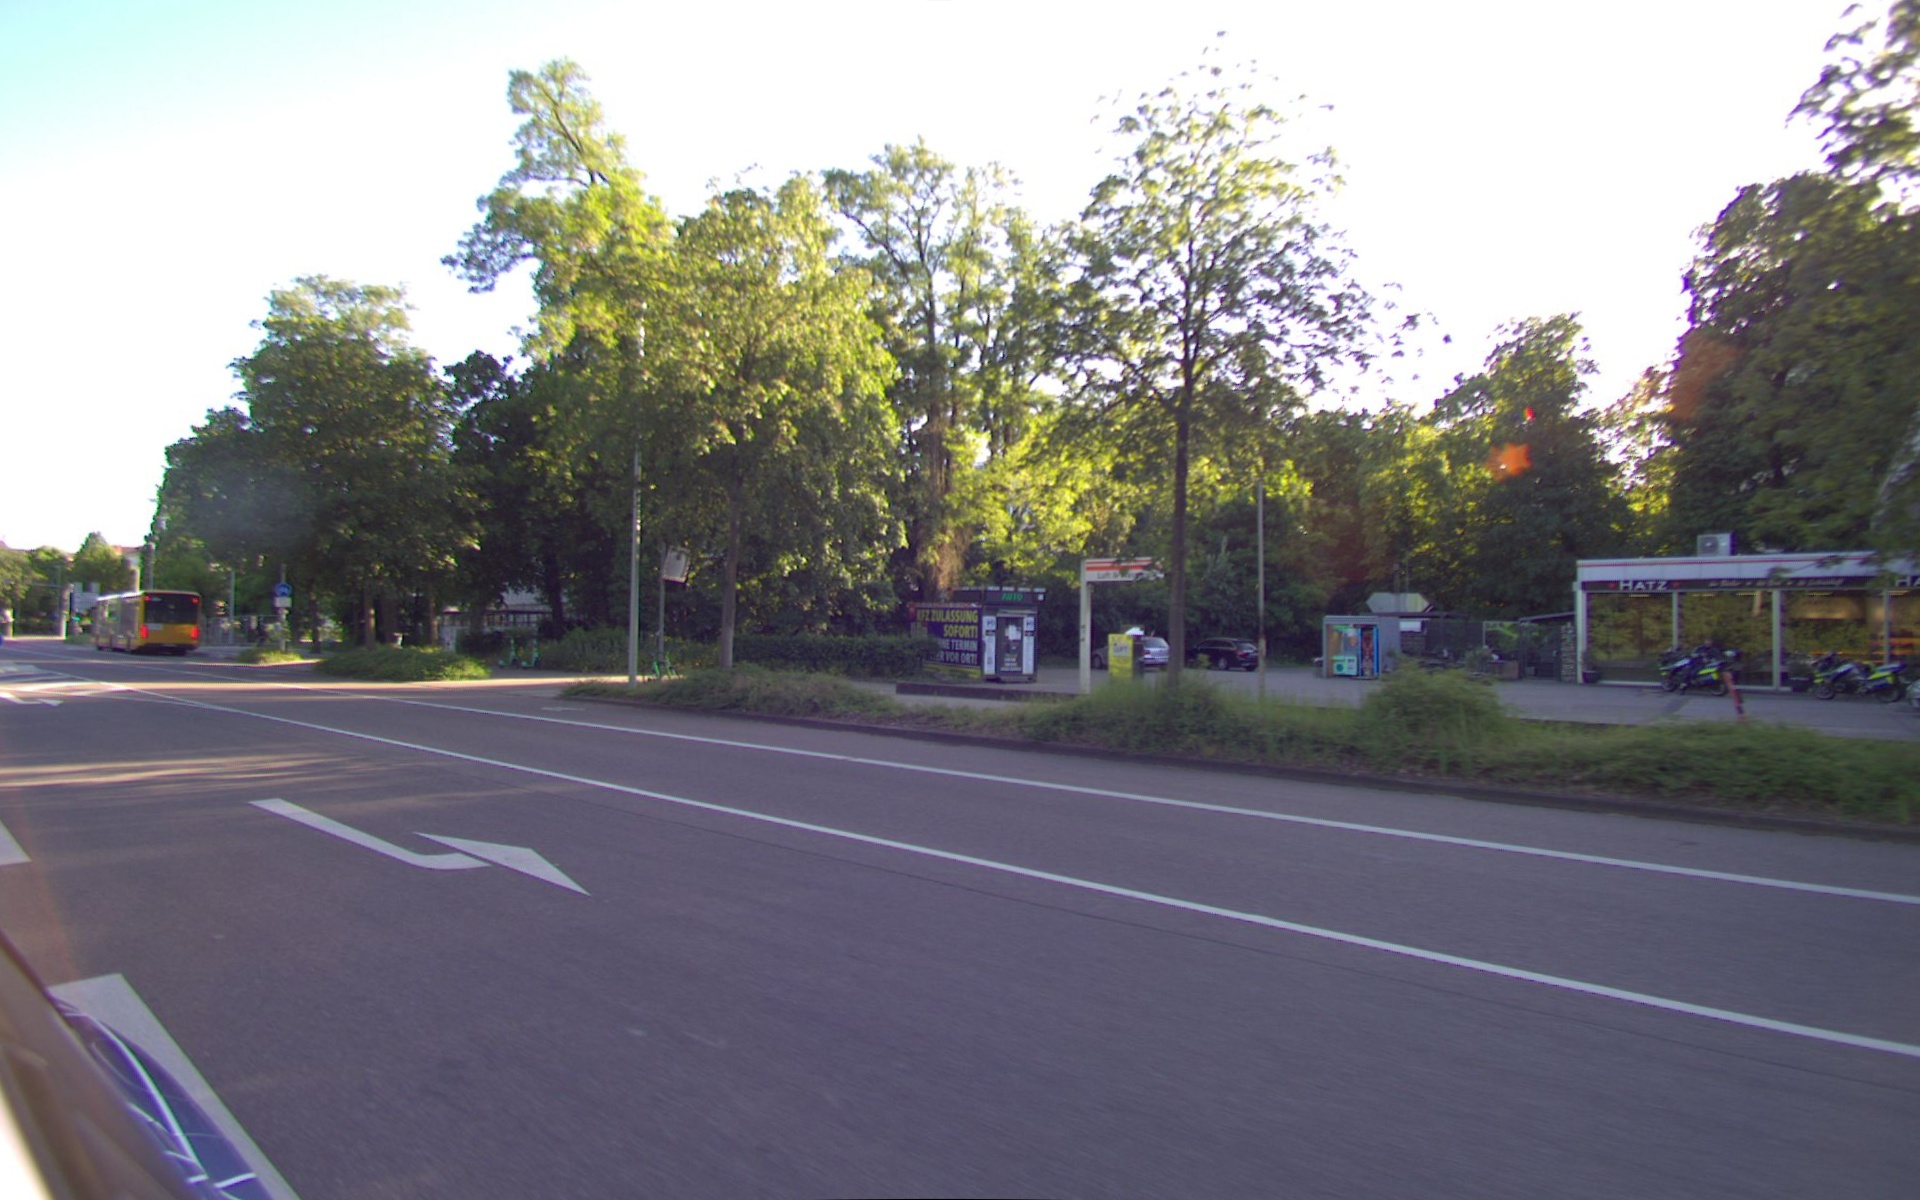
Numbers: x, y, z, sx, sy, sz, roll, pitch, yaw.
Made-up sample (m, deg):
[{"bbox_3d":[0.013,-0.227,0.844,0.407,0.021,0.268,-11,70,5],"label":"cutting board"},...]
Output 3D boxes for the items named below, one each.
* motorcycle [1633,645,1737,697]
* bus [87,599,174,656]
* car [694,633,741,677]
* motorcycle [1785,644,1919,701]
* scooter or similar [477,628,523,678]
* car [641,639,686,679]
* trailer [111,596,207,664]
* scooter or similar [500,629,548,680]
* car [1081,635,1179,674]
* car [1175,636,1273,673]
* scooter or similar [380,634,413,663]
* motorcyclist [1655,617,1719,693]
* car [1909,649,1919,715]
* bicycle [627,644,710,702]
[{"bbox_3d":[21.523,2.071,30.123,1.117,1.462,2.509,1,-2,-5],"label":"motorcycle"},{"bbox_3d":[-50.145,1.677,61.075,8.599,3.221,2.809,-1,-3,43],"label":"bus"},{"bbox_3d":[-9.765,2.181,40.595,1.536,1.663,3.501,1,-3,-17],"label":"car"},{"bbox_3d":[24.417,1.939,27.610,1.114,1.462,2.755,2,-2,-22],"label":"motorcycle"},{"bbox_3d":[-16.416,1.883,36.117,1.740,1.730,0.819,-2,-3,42],"label":"scooter or similar"},{"bbox_3d":[-11.521,2.262,39.256,1.536,1.411,3.501,3,-3,-17],"label":"car"},{"bbox_3d":[-43.595,1.572,54.956,9.363,3.381,2.823,-1,-1,43],"label":"trailer"},{"bbox_3d":[-14.998,1.858,34.788,1.740,1.730,0.819,-2,-3,42],"label":"scooter or similar"},{"bbox_3d":[7.131,2.264,42.749,1.966,1.548,4.033,2,-3,-30],"label":"car"},{"bbox_3d":[11.778,2.424,45.360,1.967,1.548,3.922,2,-3,-36],"label":"car"},{"bbox_3d":[-26.026,2.246,46.738,1.570,1.320,0.819,-2,-3,42],"label":"scooter or similar"},{"bbox_3d":[21.543,1.620,30.022,1.107,2.199,1.017,1,-2,-5],"label":"motorcyclist"},{"bbox_3d":[22.376,1.733,20.791,4.056,1.386,1.693,-1,-3,40],"label":"car"},{"bbox_3d":[-6.713,1.646,23.260,2.155,1.259,0.648,-1,-3,36],"label":"bicycle"}]
